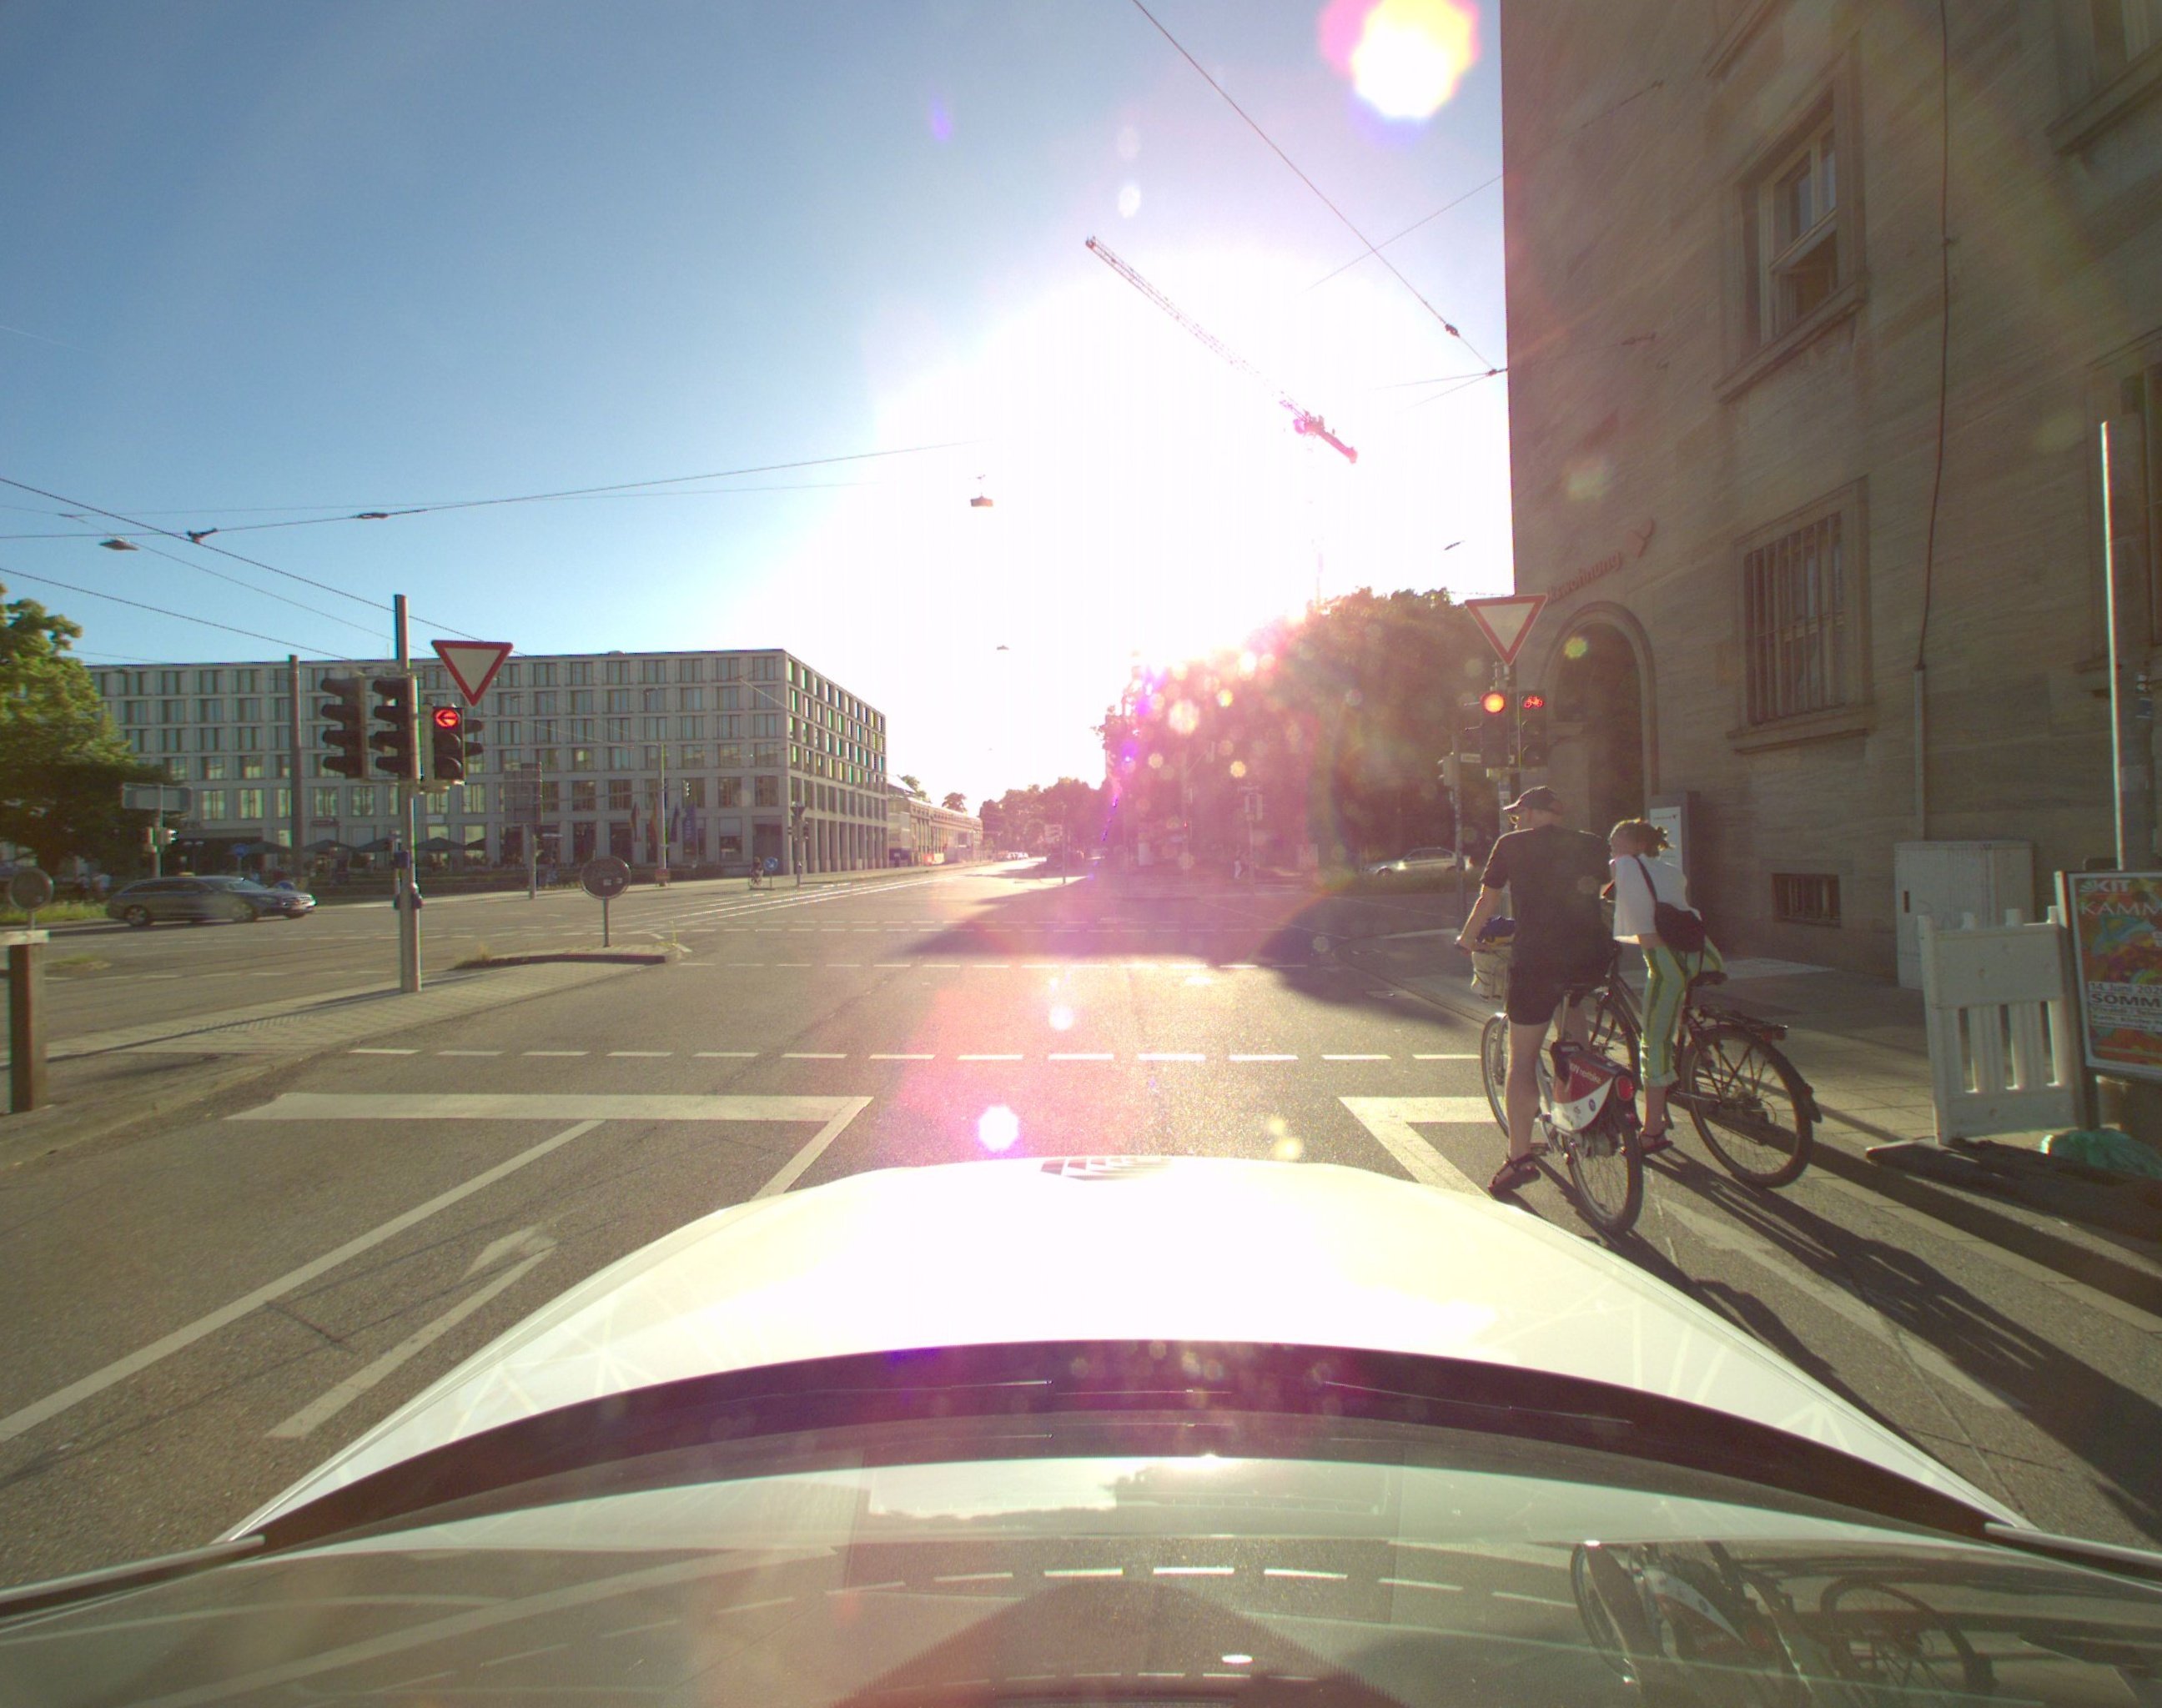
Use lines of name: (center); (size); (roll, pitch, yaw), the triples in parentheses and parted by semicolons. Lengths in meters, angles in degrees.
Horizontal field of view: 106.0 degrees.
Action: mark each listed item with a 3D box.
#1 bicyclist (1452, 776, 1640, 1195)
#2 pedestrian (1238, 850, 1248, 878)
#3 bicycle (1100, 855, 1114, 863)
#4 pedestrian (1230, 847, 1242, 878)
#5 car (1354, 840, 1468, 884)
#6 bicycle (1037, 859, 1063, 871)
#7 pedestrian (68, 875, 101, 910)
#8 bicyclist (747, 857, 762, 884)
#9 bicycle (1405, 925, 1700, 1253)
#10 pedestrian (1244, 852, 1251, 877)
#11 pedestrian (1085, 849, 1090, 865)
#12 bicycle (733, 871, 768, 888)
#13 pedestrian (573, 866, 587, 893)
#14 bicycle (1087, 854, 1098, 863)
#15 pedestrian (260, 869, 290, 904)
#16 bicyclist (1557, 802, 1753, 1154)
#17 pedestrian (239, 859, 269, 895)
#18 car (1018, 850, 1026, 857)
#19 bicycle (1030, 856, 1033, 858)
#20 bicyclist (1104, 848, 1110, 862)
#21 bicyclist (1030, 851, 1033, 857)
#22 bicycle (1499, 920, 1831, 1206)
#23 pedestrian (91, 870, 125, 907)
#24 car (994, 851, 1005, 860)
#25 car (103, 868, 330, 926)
bicyclist: (2.123, 0.565, 3.780); (0.556, 1.799, 0.551); (-1, 0, 3)
pedestrian: (8.824, 0.523, 44.407); (0.437, 1.503, 0.437); (-2, 0, 3)
bicycle: (3.351, 0.643, 104.156); (1.818, 1.077, 0.577); (-2, 0, 1)
pedestrian: (8.405, 0.443, 44.055); (0.580, 1.663, 0.515); (0, 1, 4)
car: (13.418, 0.321, 33.242); (3.979, 1.611, 1.650); (-2, 0, 1)
bicycle: (-2.571, 0.903, 67.705); (1.996, 0.891, 0.655); (-4, -1, 29)
pedestrian: (-53.769, 2.068, 43.946); (0.712, 1.900, 0.875); (0, -1, 3)
bicyclist: (-19.380, 0.974, 48.348); (0.778, 1.589, 0.756); (-2, 0, -23)
bicycle: (2.121, 0.962, 3.938); (0.513, 1.077, 1.729); (-1, 0, 4)
pedestrian: (8.877, 0.565, 43.311); (0.316, 1.316, 0.345); (0, 1, 4)
pedestrian: (0.786, 0.366, 98.620); (0.462, 1.813, 0.502); (-2, 0, -3)
bicycle: (-19.581, 1.525, 48.262); (1.865, 0.935, 0.757); (-2, 0, -23)
pedestrian: (-29.964, 1.499, 48.734); (0.592, 1.589, 0.770); (-2, 0, -28)
bicycle: (1.471, 0.599, 103.069); (0.579, 1.077, 1.813); (-1, 0, -30)
pedestrian: (-44.292, 1.790, 44.762); (0.712, 1.900, 0.876); (0, -1, 7)
bicyclist: (2.954, 0.596, 4.247); (0.556, 1.691, 0.640); (-1, 0, 0)
pedestrian: (-46.517, 1.265, 45.828); (0.837, 2.014, 0.827); (-1, -1, 11)
car: (-14.238, -0.136, 195.323); (1.688, 1.718, 4.245); (0, -1, -1)
bicycle: (-10.824, 0.599, 178.512); (0.499, 0.515, 1.258); (0, -1, 1)
bicyclist: (3.347, 0.150, 104.153); (0.695, 1.691, 0.571); (-2, 0, 1)
bicyclist: (-10.828, 0.011, 178.492); (0.594, 1.377, 0.637); (0, -1, 0)
bicycle: (2.943, 0.962, 4.354); (0.532, 1.077, 1.751); (-1, 0, 1)
pedestrian: (-53.672, 1.907, 44.934); (0.838, 2.014, 0.825); (0, -1, 4)
car: (-15.667, 0.250, 157.073); (1.688, 1.718, 4.245); (0, -1, -1)
car: (-26.902, 1.306, 25.493); (4.783, 1.565, 1.895); (-2, 0, -5)
